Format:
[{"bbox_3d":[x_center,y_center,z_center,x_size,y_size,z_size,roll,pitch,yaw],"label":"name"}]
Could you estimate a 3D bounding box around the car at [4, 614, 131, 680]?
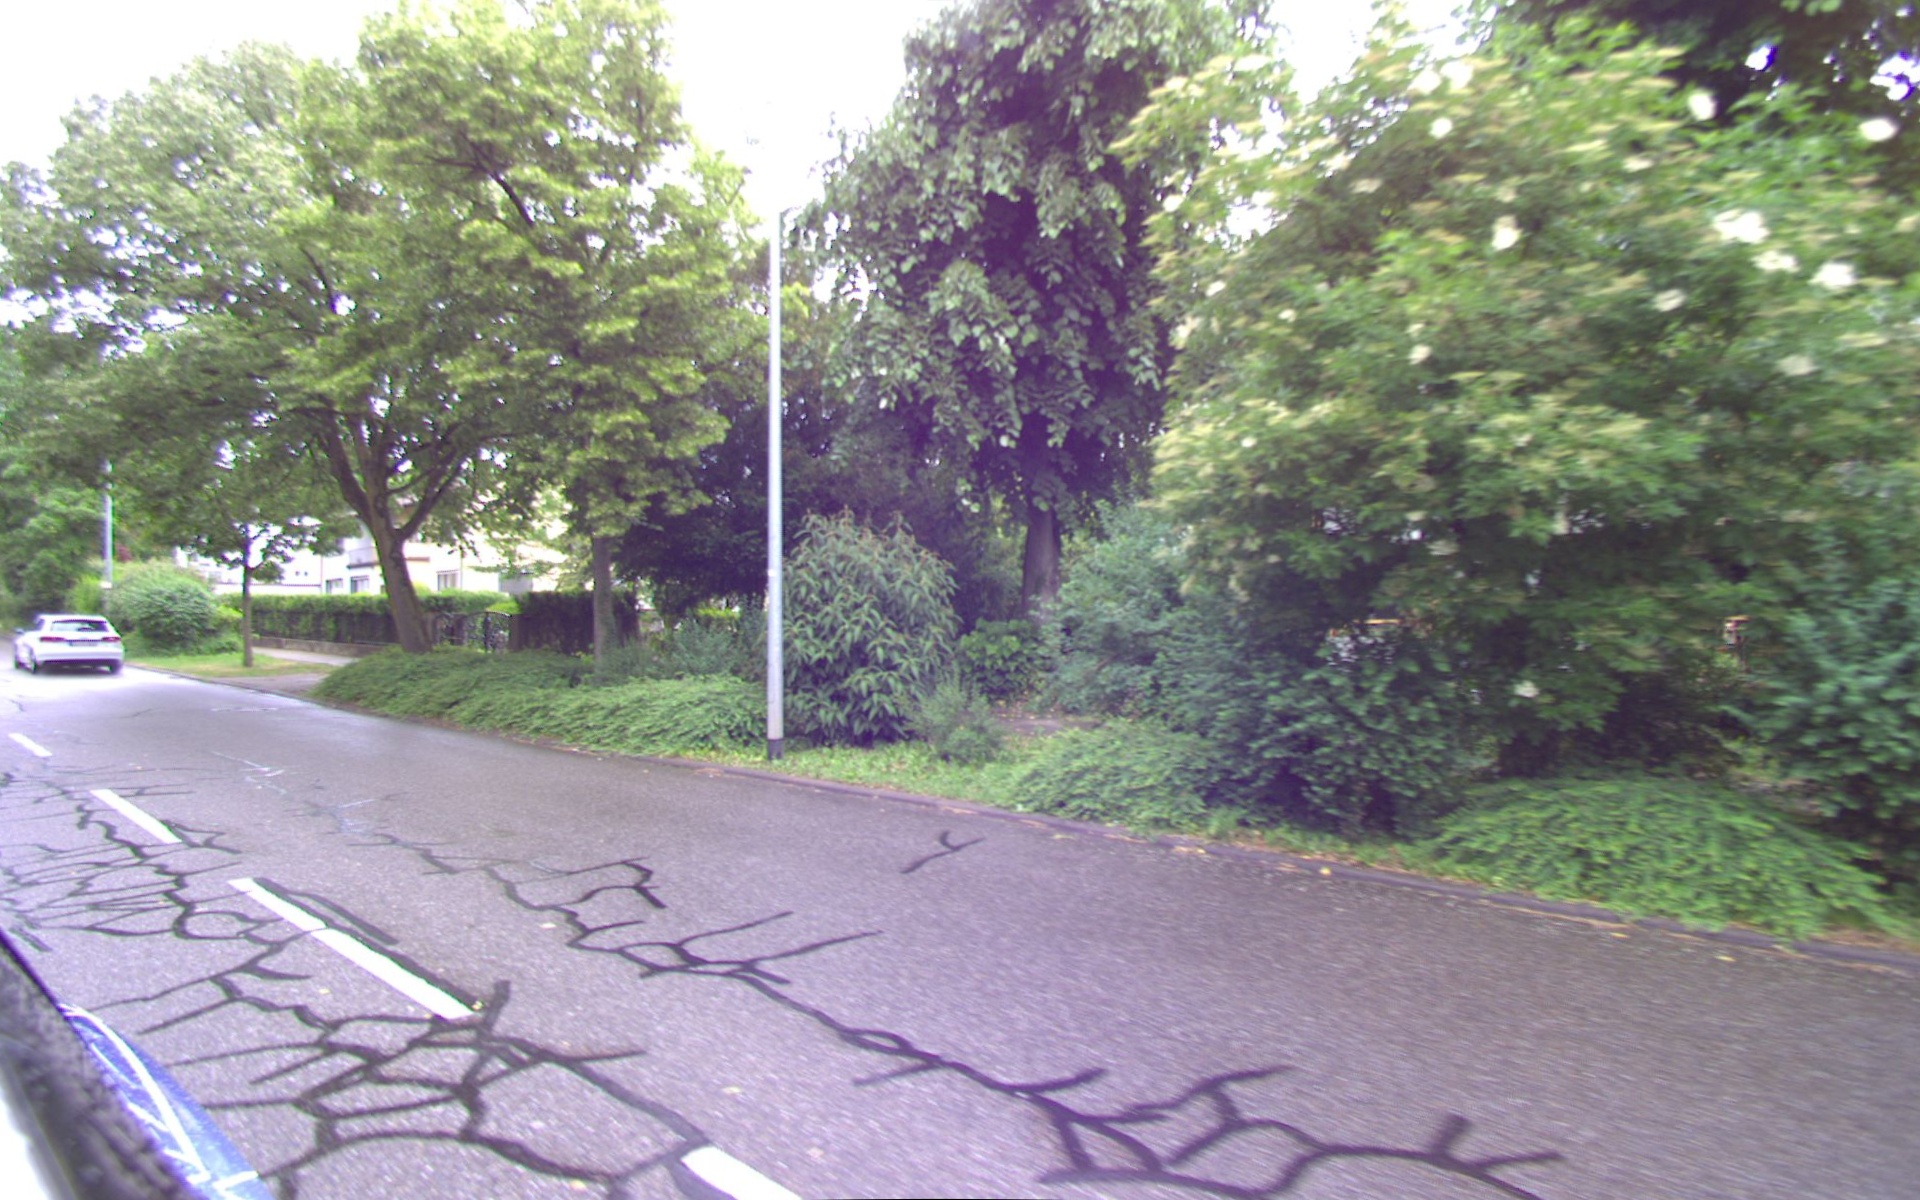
[{"bbox_3d":[-22.586,1.135,25.559,4.064,1.490,1.802,0,-2,40],"label":"car"}]
